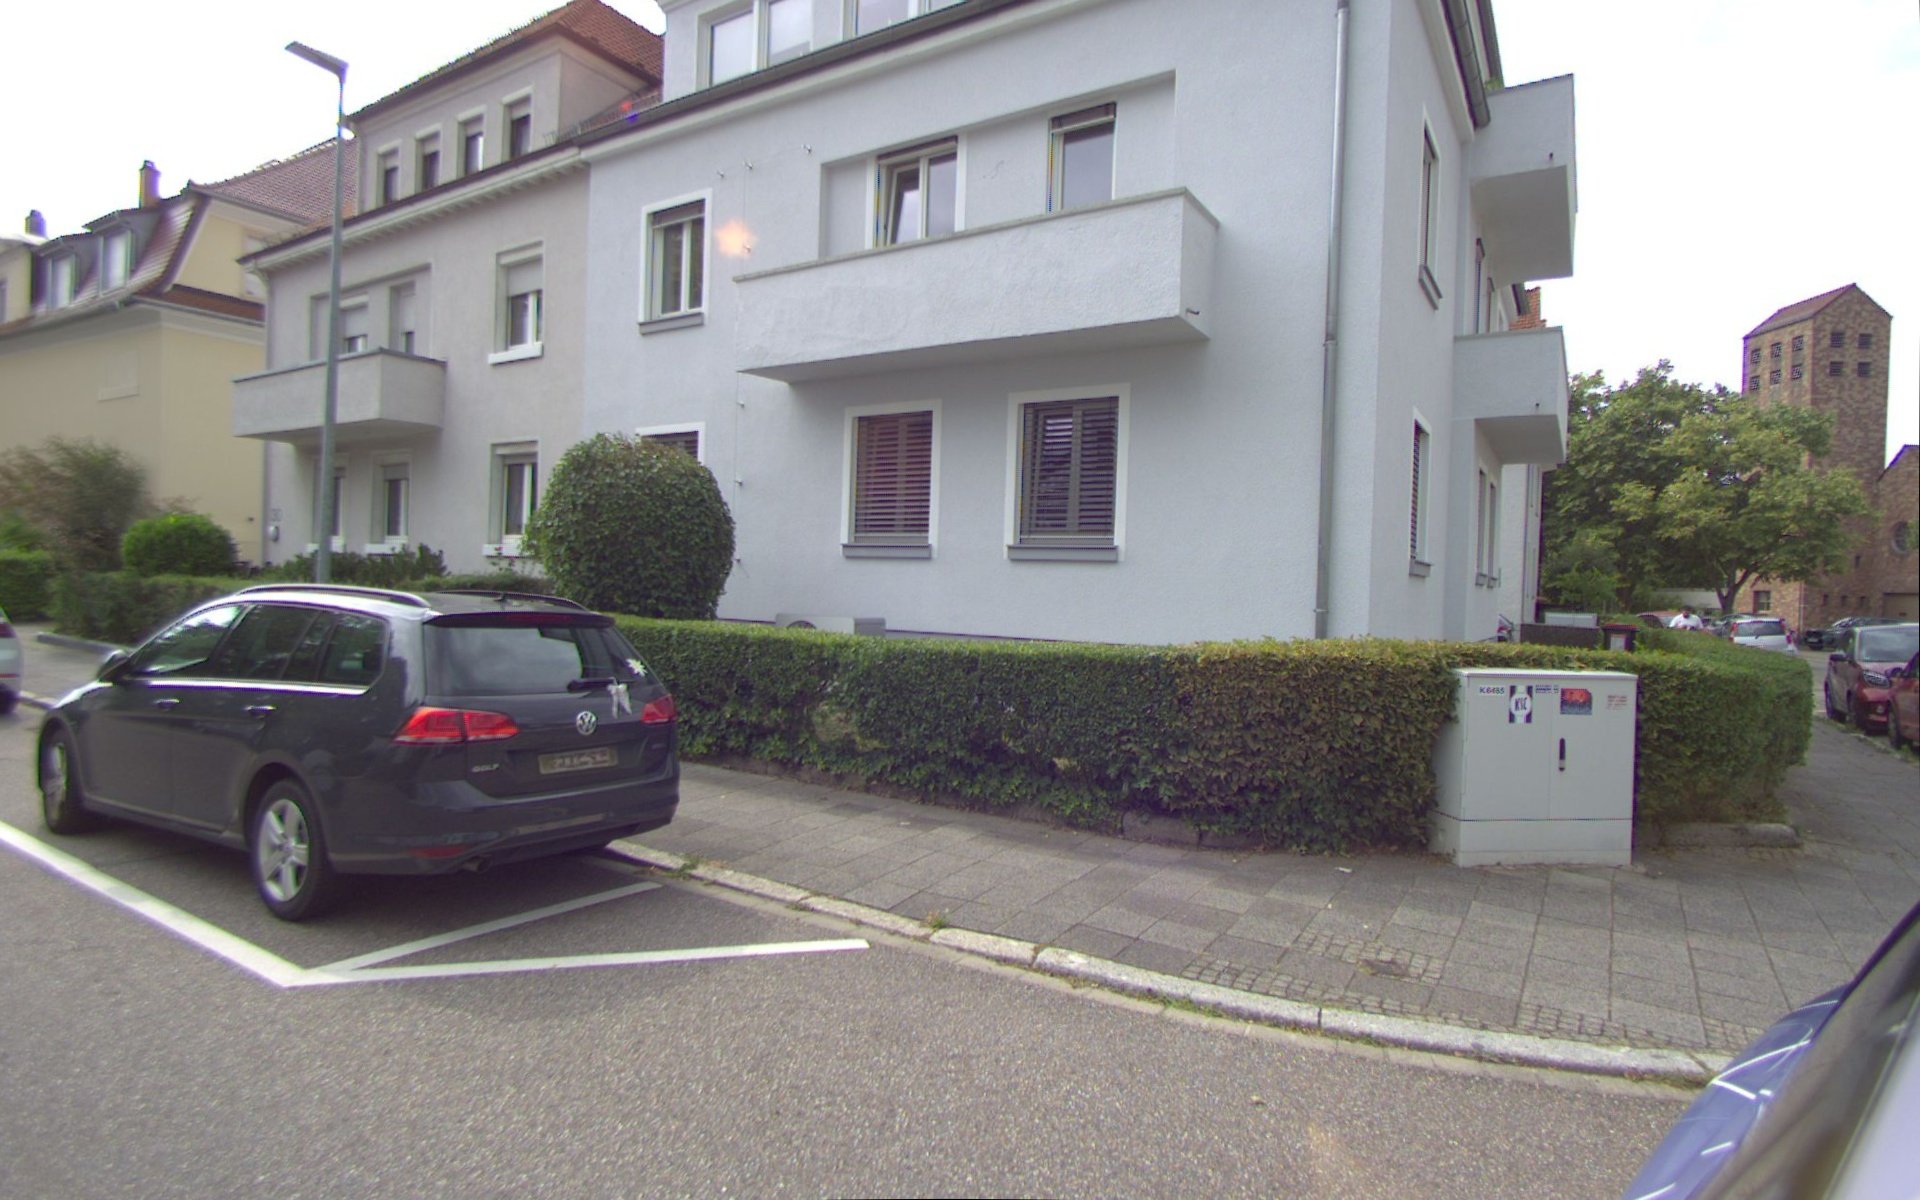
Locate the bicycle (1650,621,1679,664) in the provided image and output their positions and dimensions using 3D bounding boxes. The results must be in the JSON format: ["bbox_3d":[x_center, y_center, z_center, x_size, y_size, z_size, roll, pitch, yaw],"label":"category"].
[{"bbox_3d":[20.106,1.183,28.904,0.419,1.117,2.094,2,1,28],"label":"bicycle"}]

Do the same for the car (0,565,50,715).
[{"bbox_3d":[-11.662,0.331,10.929,4.148,1.490,1.836,3,1,35],"label":"car"}]

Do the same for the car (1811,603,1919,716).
[{"bbox_3d":[14.137,0.820,15.119,1.638,1.515,3.441,-2,-1,32],"label":"car"}]

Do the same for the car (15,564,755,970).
[{"bbox_3d":[-3.368,0.607,5.762,4.141,1.490,1.840,2,1,30],"label":"car"}]

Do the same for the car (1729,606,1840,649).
[{"bbox_3d":[31.715,1.061,39.095,1.829,1.500,4.018,-4,-3,17],"label":"car"}]

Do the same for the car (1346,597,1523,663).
[{"bbox_3d":[12.532,0.725,26.774,3.973,1.482,1.975,2,1,34],"label":"car"}]

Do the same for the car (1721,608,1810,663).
[{"bbox_3d":[24.087,1.026,30.373,1.638,1.515,3.441,-2,-1,32],"label":"car"}]

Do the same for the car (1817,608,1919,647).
[{"bbox_3d":[40.730,1.211,44.641,4.198,1.482,1.665,3,3,33],"label":"car"}]

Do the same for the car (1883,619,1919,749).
[{"bbox_3d":[11.968,0.996,11.410,1.638,1.515,3.441,-2,-1,32],"label":"car"}]

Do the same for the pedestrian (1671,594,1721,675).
[{"bbox_3d":[18.123,0.823,24.939,0.878,1.902,1.066,2,1,33],"label":"pedestrian"}]

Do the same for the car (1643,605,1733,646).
[{"bbox_3d":[27.902,0.953,38.905,1.627,1.515,3.464,-1,-1,16],"label":"car"}]
